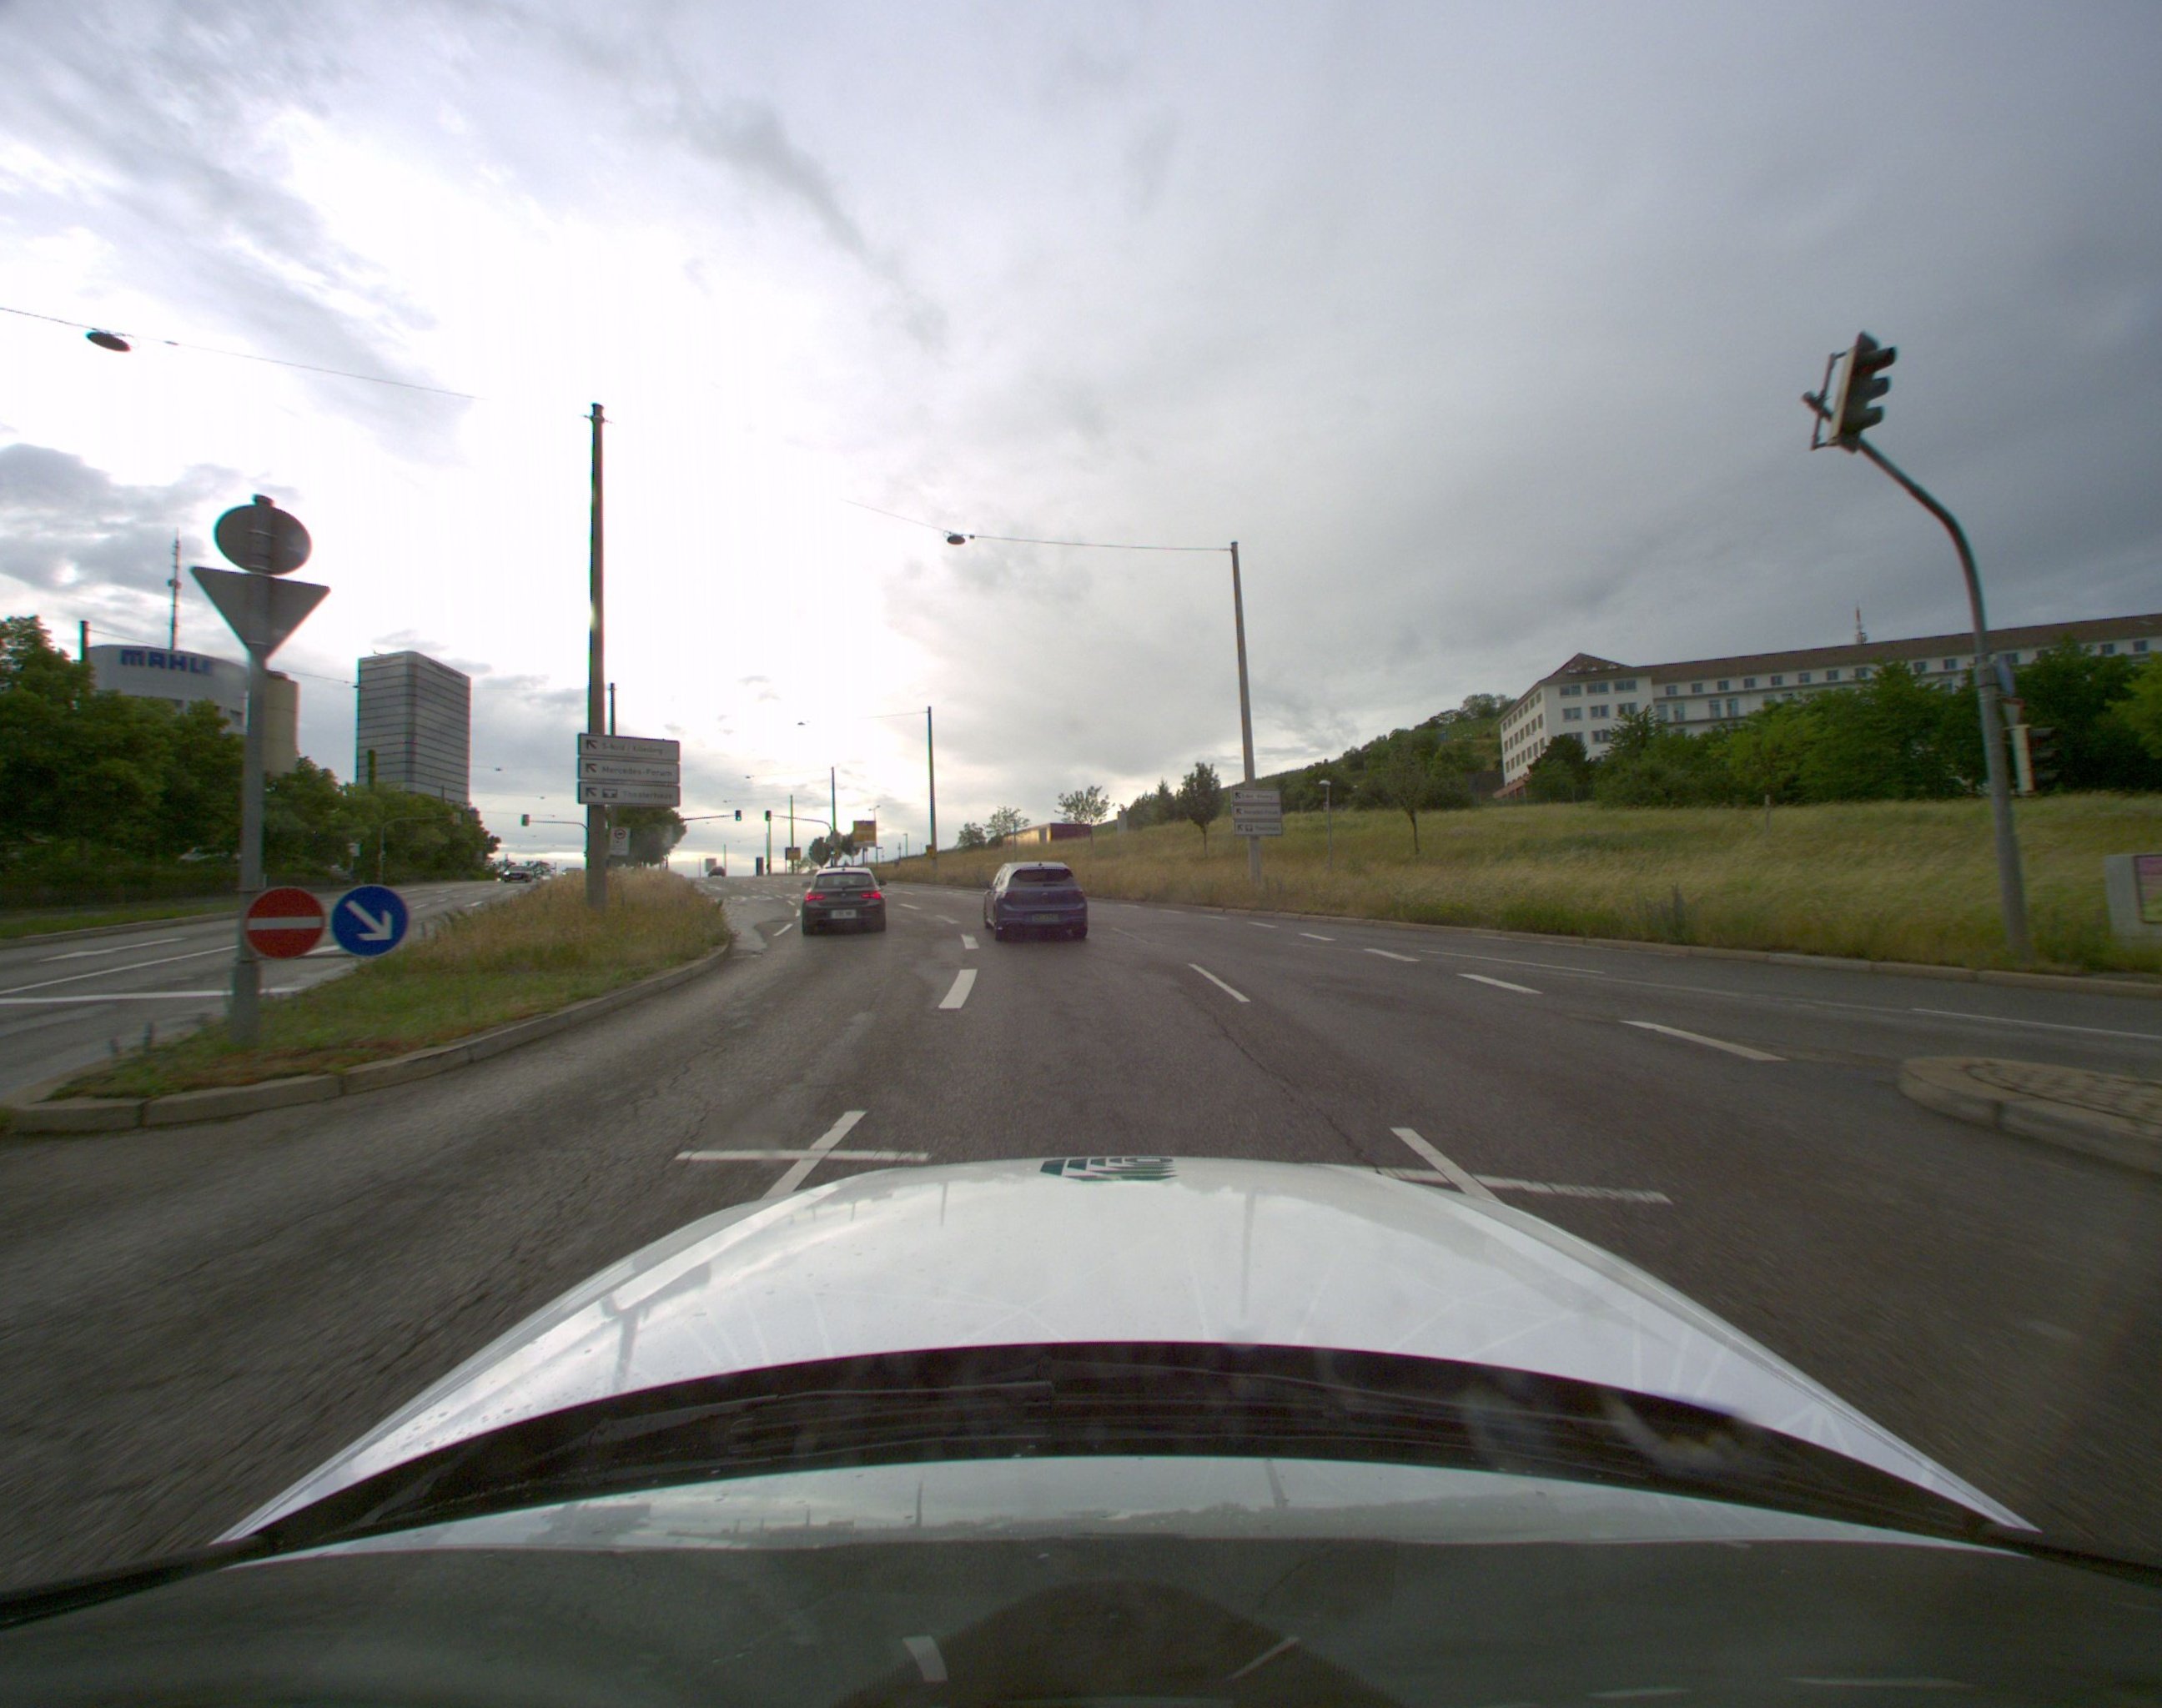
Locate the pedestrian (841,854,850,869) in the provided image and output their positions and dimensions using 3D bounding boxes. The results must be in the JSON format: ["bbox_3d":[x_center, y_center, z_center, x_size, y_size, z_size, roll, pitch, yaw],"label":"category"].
[{"bbox_3d":[-26.296,0.790,91.086,0.638,1.570,0.886,-5,6,-37],"label":"pedestrian"}]

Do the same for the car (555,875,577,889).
[{"bbox_3d":[-55.540,2.974,87.858,1.820,1.469,3.578,1,-1,-29],"label":"car"}]

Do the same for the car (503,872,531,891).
[{"bbox_3d":[-52.777,2.561,76.307,1.873,1.620,3.961,0,-1,-31],"label":"car"}]

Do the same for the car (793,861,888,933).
[{"bbox_3d":[-5.481,0.925,18.971,1.871,1.461,3.958,-1,-1,-13],"label":"car"}]

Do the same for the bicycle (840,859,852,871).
[{"bbox_3d":[-26.269,1.247,91.099,0.638,1.104,1.734,-6,7,-36],"label":"bicycle"}]

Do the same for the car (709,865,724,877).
[{"bbox_3d":[-49.126,2.348,109.600,1.730,1.542,3.672,2,-2,-25],"label":"car"}]

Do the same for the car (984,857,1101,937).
[{"bbox_3d":[-0.918,0.788,16.622,1.838,1.393,3.985,-1,-1,-11],"label":"car"}]

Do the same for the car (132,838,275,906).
[{"bbox_3d":[-29.039,0.580,27.138,2.005,2.013,3.963,-2,0,-28],"label":"car"}]
